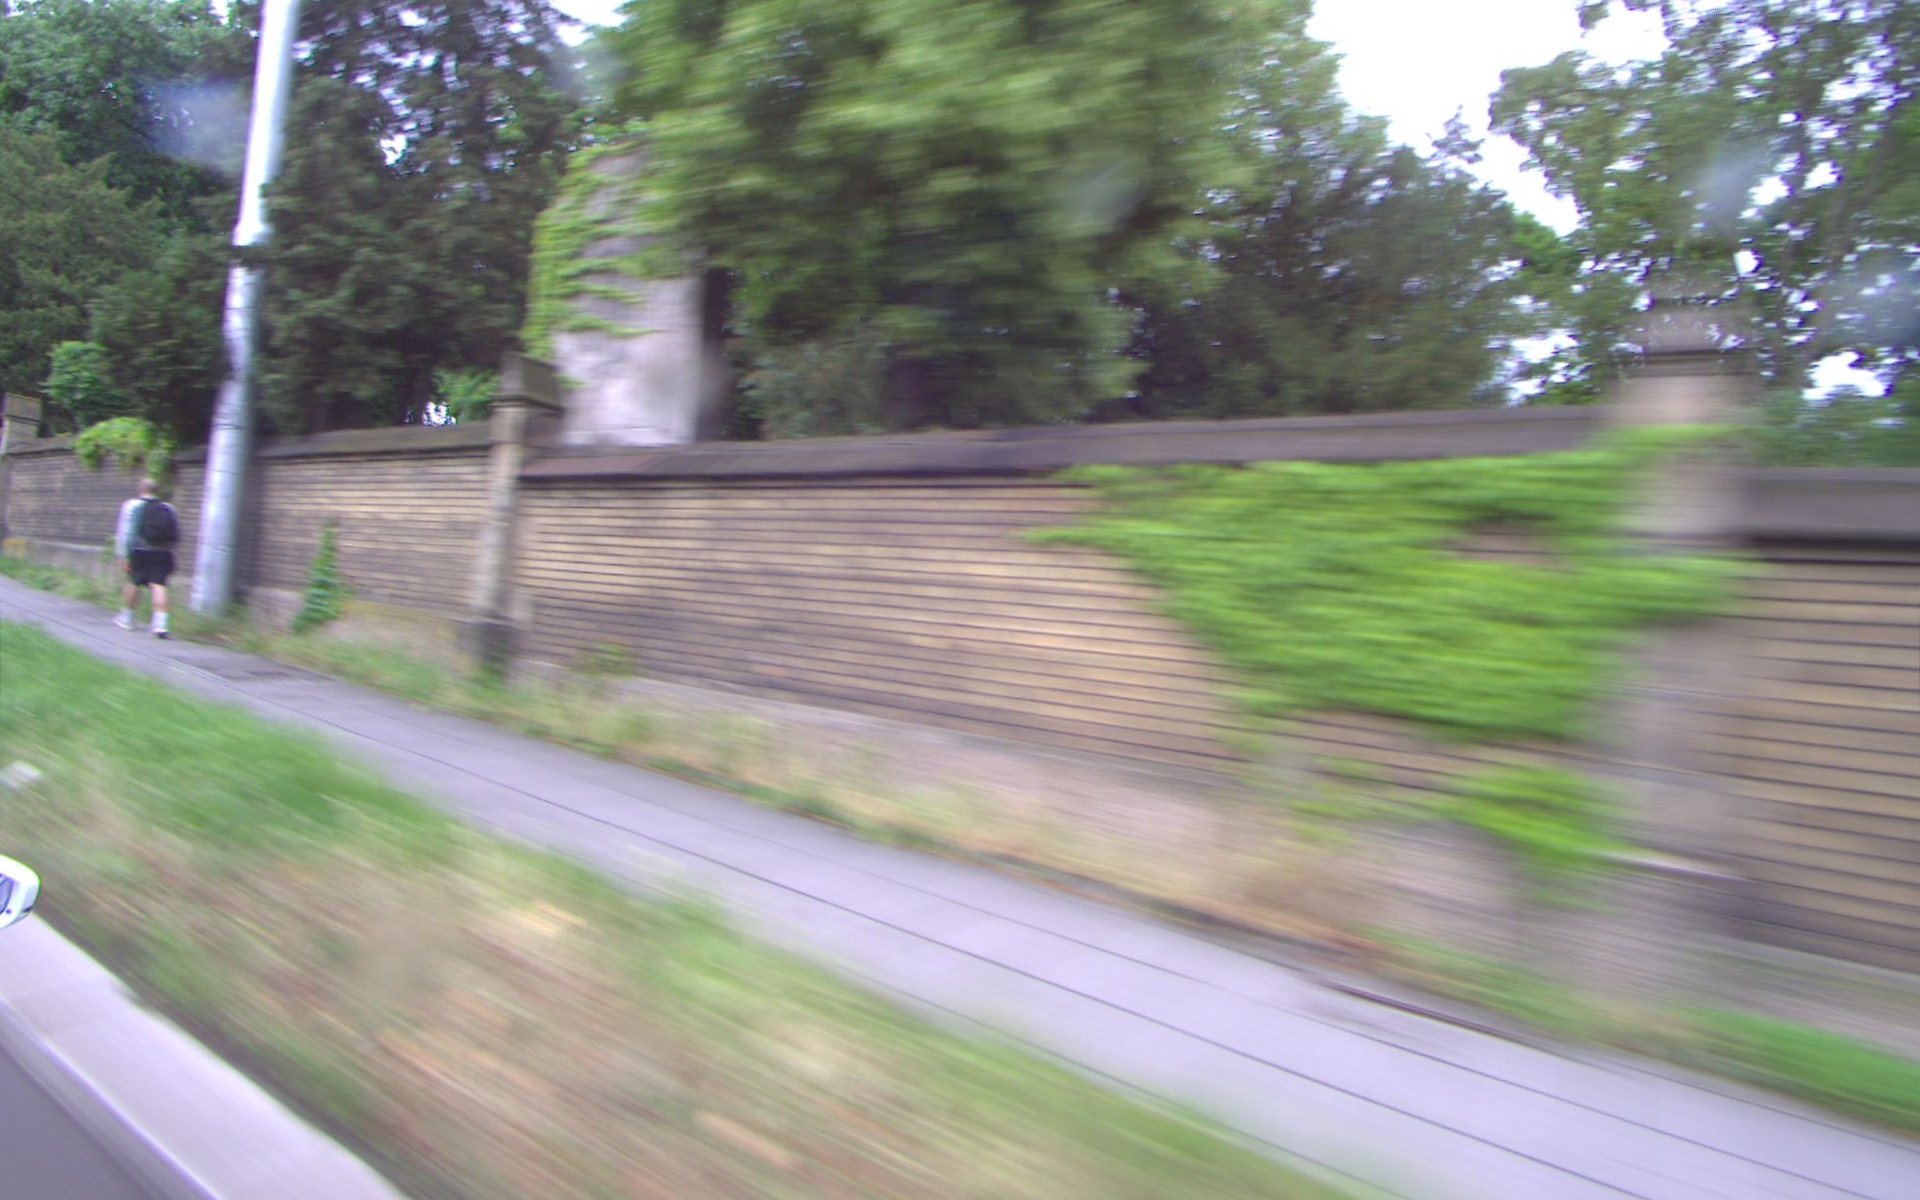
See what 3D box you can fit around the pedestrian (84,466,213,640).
[{"bbox_3d":[-9.065,-0.523,11.244,0.886,1.800,0.709,7,0,32],"label":"pedestrian"}]
